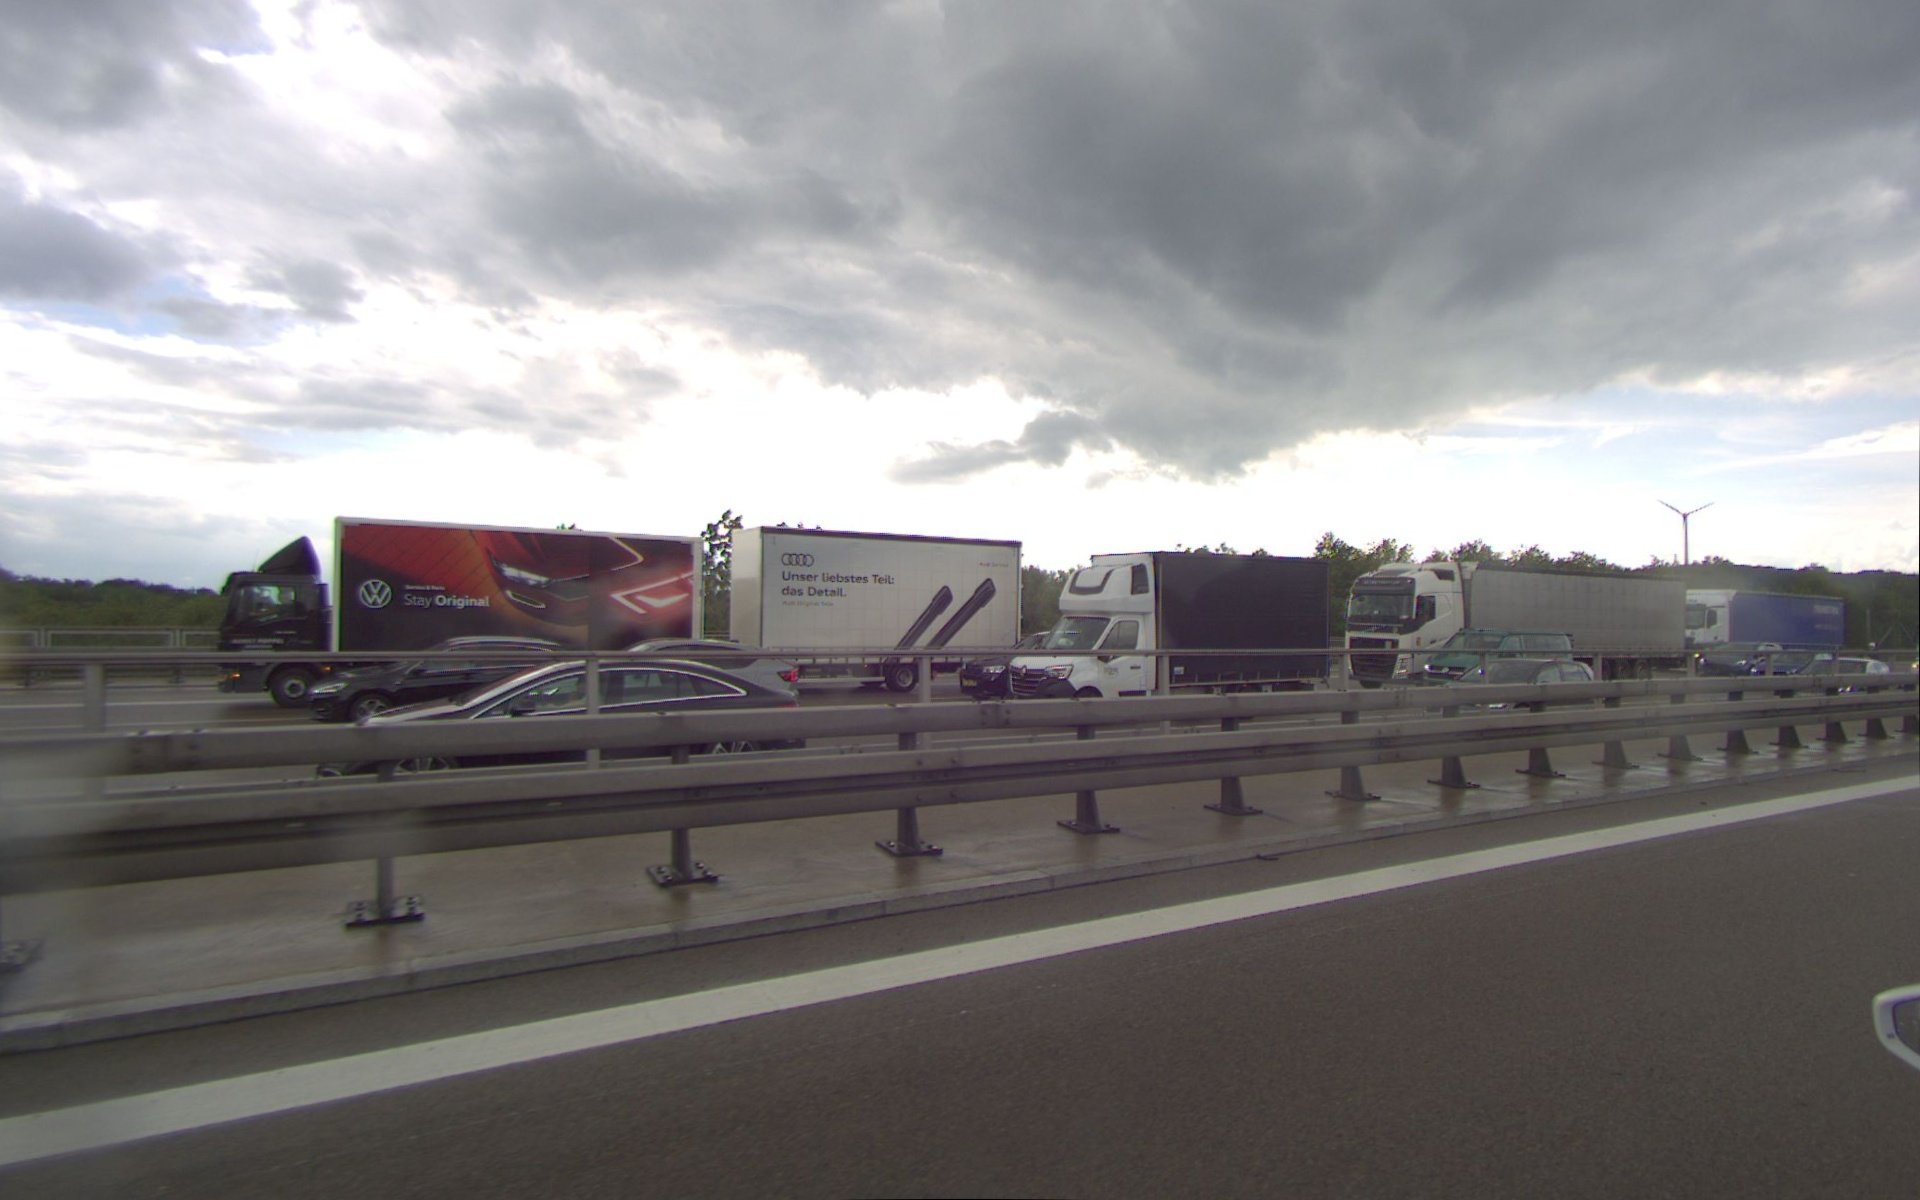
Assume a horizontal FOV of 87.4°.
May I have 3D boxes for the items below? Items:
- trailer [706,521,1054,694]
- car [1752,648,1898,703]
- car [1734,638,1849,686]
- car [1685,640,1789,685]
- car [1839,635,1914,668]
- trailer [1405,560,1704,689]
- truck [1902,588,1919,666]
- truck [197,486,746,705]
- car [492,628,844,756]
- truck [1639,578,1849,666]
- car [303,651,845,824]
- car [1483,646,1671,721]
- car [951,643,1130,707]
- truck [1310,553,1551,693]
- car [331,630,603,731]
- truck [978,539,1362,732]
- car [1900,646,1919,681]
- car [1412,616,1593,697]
[{"bbox_3d":[-1.999,0.272,26.949,8.746,4.012,3.203,2,0,-30],"label":"trailer"},{"bbox_3d":[23.964,2.035,27.791,4.481,1.372,1.711,1,-2,-30],"label":"car"},{"bbox_3d":[30.755,2.255,37.127,4.643,1.645,1.813,2,-1,-30],"label":"car"},{"bbox_3d":[33.017,2.615,42.677,4.520,1.771,1.959,1,-1,-30],"label":"car"},{"bbox_3d":[45.719,2.543,50.107,3.952,1.566,1.638,1,-1,-30],"label":"car"},{"bbox_3d":[21.332,0.899,35.580,12.863,3.986,3.228,2,0,-30],"label":"trailer"},{"bbox_3d":[56.467,1.539,56.496,7.648,4.250,3.162,1,-1,-31],"label":"truck"},{"bbox_3d":[-10.169,0.030,22.152,10.161,3.962,3.210,2,0,-30],"label":"truck"},{"bbox_3d":[-4.435,1.317,15.600,4.996,1.722,1.711,1,-1,-30],"label":"car"},{"bbox_3d":[41.340,1.182,52.516,17.544,4.074,2.635,1,-1,-31],"label":"truck"},{"bbox_3d":[-4.150,1.379,11.435,5.438,1.522,1.711,1,-1,-30],"label":"car"},{"bbox_3d":[12.877,1.677,20.928,3.953,1.372,1.711,1,-1,-30],"label":"car"},{"bbox_3d":[1.943,1.732,24.030,4.038,1.372,1.711,1,-1,-30],"label":"car"},{"bbox_3d":[14.960,0.721,31.783,7.485,3.986,3.184,2,0,-30],"label":"truck"},{"bbox_3d":[-8.481,1.322,17.452,4.038,1.555,1.711,1,-1,-30],"label":"car"},{"bbox_3d":[4.620,0.737,21.147,8.440,3.444,2.507,1,-1,-30],"label":"truck"},{"bbox_3d":[44.486,2.936,45.336,4.803,1.530,1.638,3,-2,-30],"label":"car"},{"bbox_3d":[15.144,1.518,27.946,5.609,2.079,1.813,2,-1,-31],"label":"car"}]
